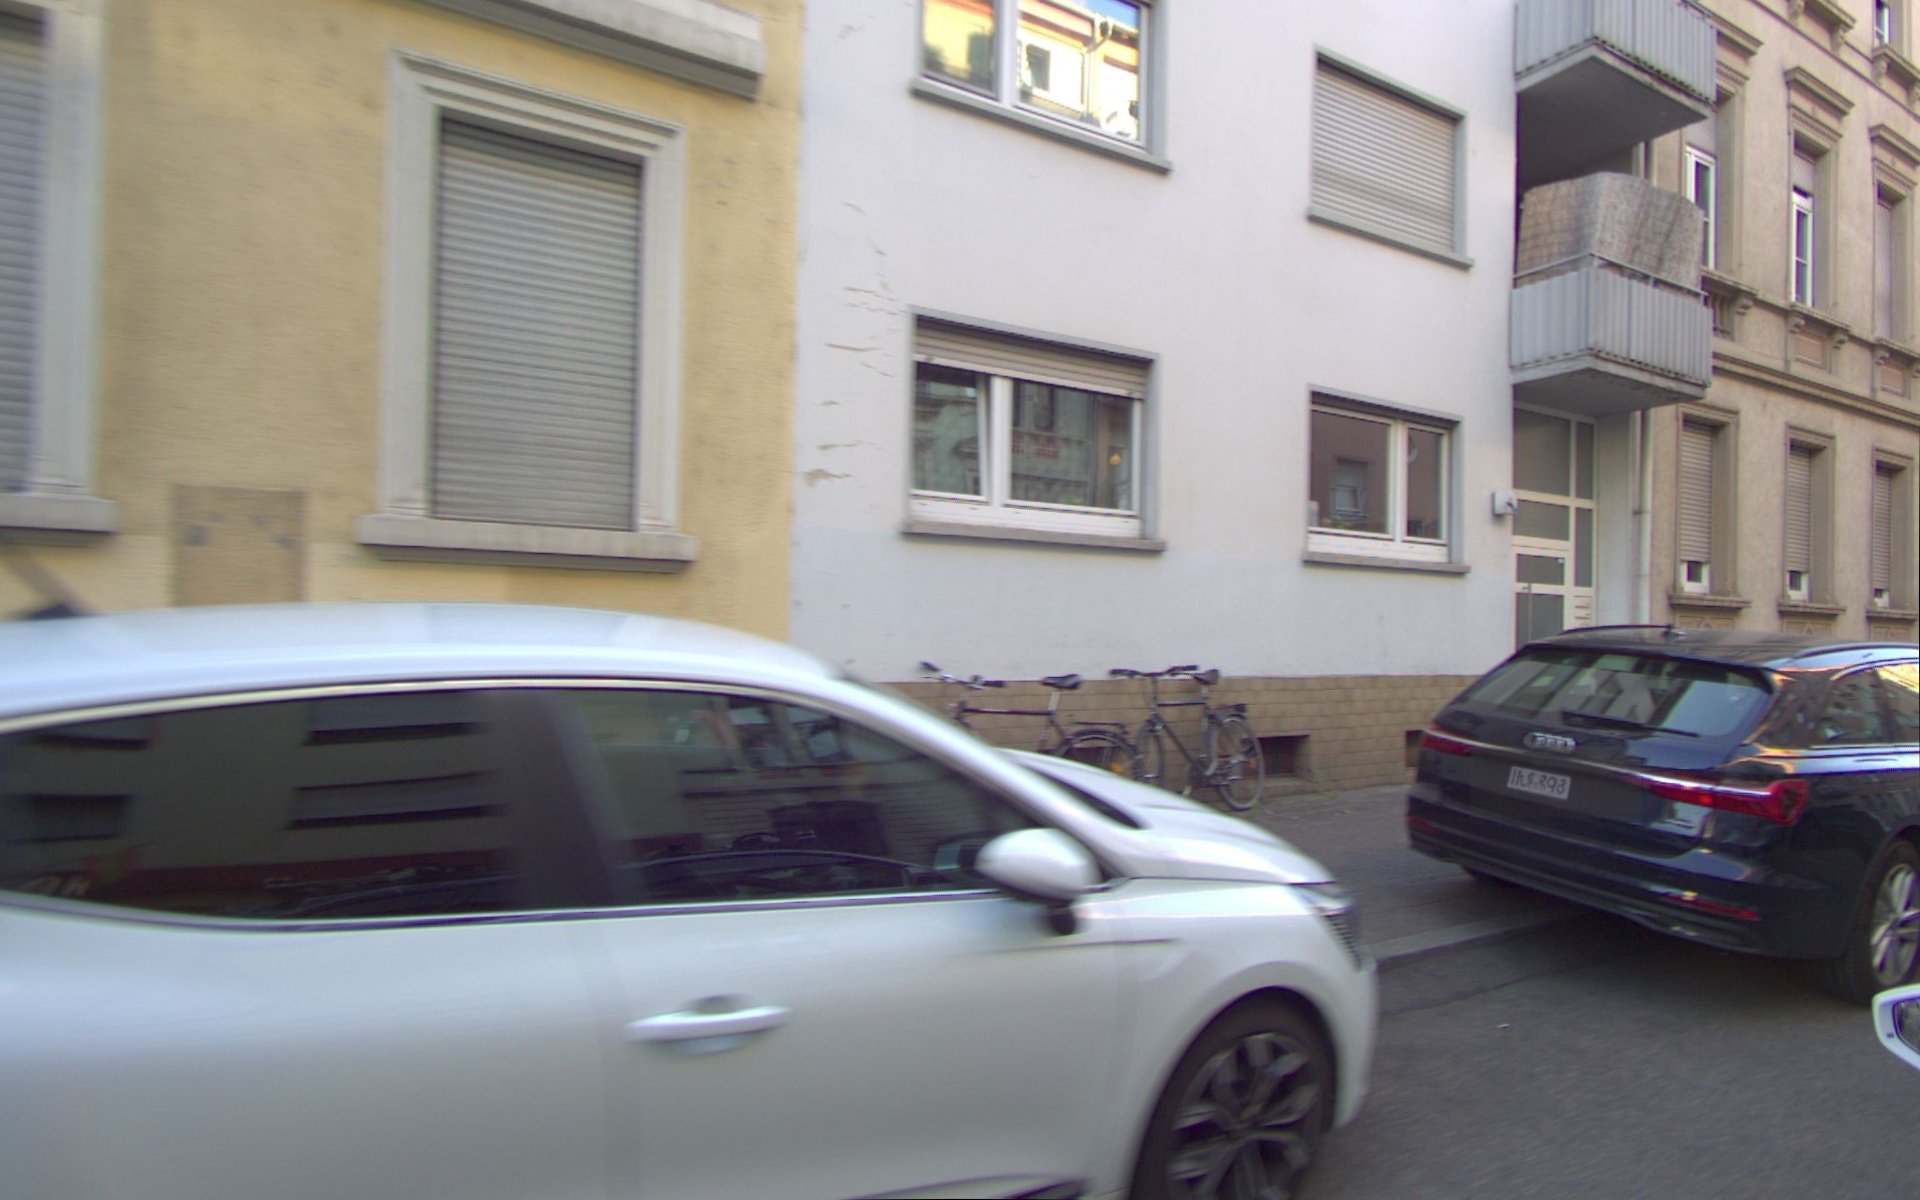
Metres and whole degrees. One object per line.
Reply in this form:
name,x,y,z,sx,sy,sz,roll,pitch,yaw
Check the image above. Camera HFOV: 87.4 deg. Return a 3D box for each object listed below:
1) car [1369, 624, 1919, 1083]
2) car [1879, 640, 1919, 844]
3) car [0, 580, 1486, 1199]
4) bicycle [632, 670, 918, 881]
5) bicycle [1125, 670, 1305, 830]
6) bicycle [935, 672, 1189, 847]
car,4.415,0.967,5.362,4.440,1.559,1.783,2,-1,-30
car,9.586,1.166,8.313,4.384,1.559,1.781,2,-1,-31
car,-0.619,0.774,2.468,3.743,1.509,1.631,2,-1,-30
bicycle,-0.971,0.905,5.509,1.527,1.022,0.290,2,-1,-33
bicycle,1.840,1.023,7.133,1.528,1.022,0.290,2,-1,-35
bicycle,0.622,0.978,6.194,1.515,1.022,0.292,2,-1,-6
